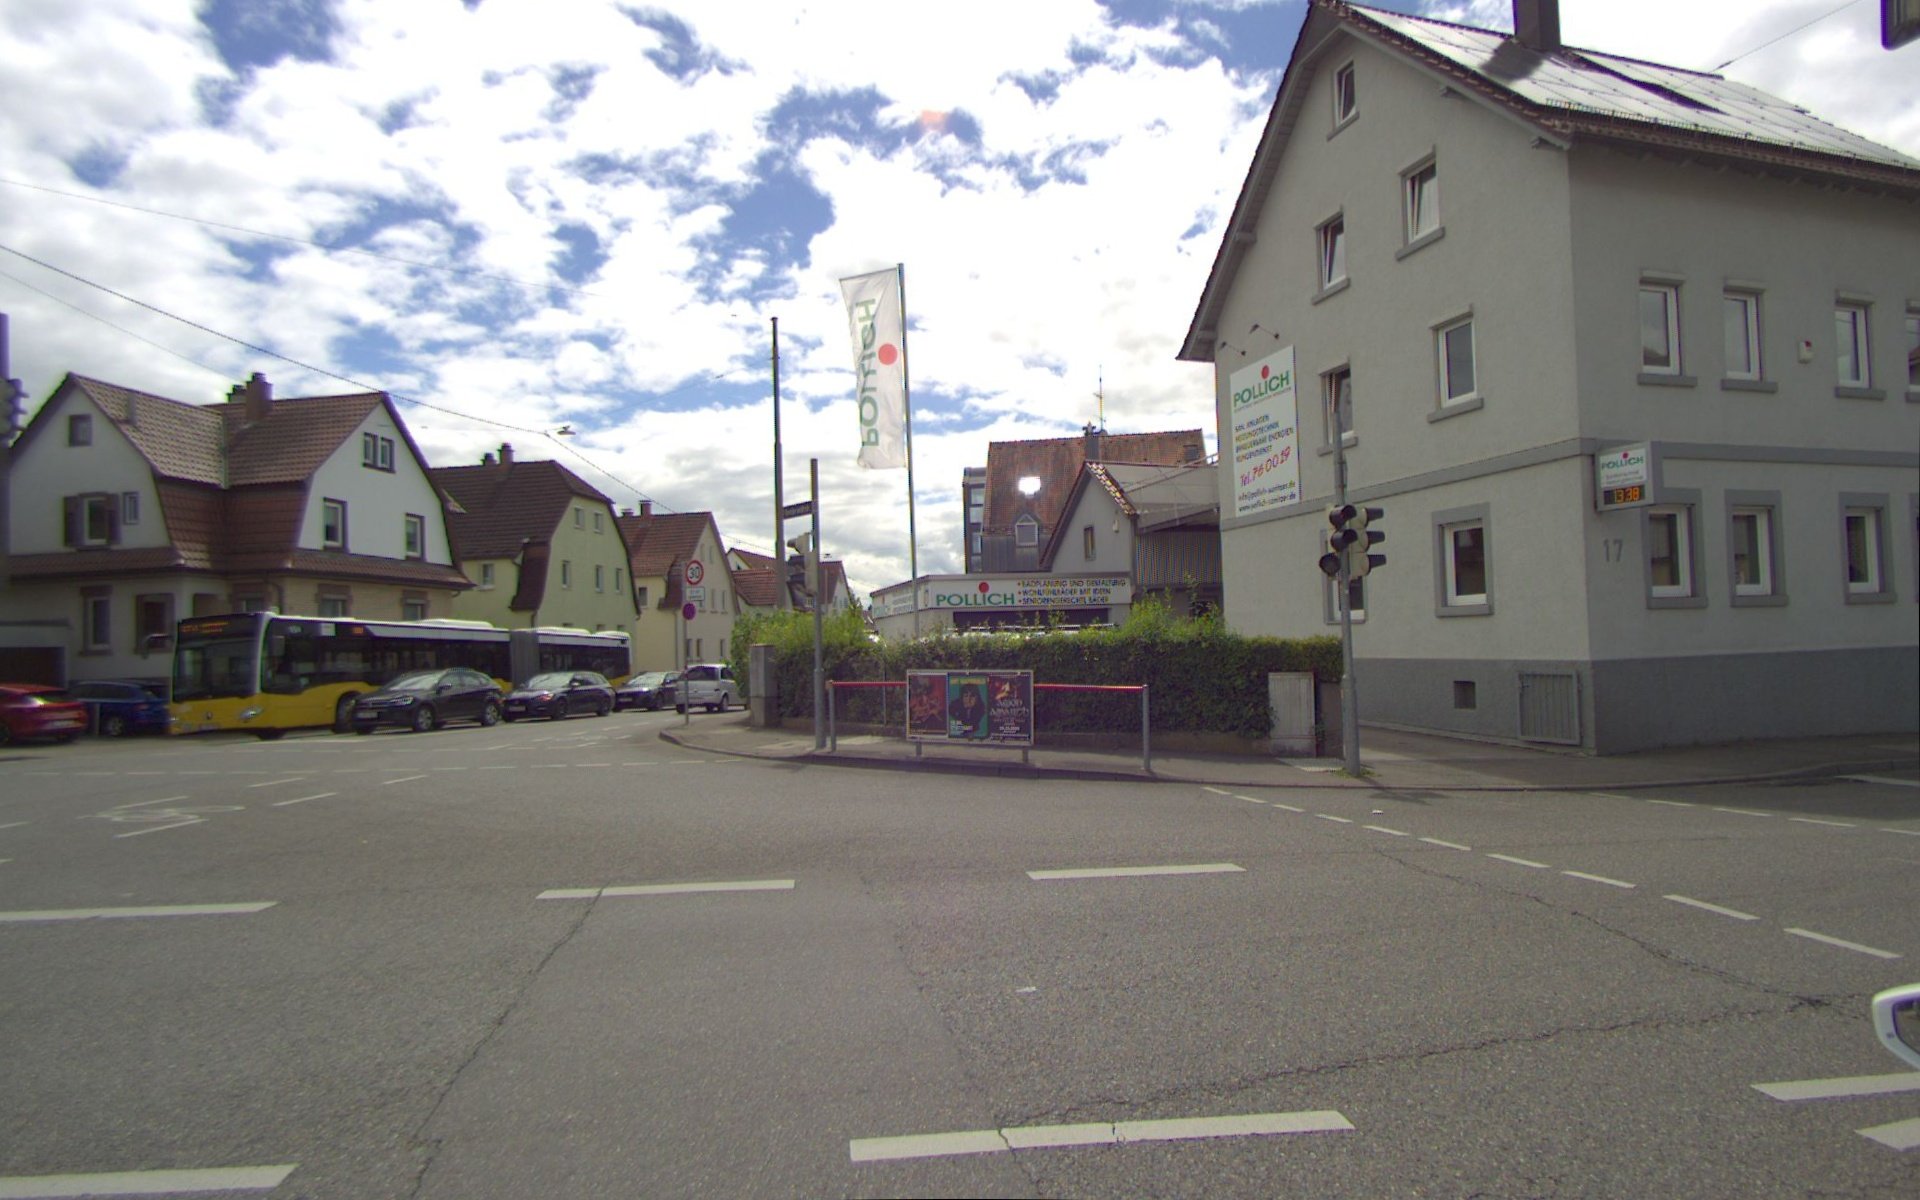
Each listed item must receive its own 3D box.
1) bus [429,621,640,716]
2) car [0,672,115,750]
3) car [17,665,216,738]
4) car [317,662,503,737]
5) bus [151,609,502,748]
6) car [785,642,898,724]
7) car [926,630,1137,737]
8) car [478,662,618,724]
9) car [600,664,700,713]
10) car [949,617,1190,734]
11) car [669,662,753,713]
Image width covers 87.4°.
[{"bbox_3d":[-14.946,2.429,36.383,2.730,2.952,9.200,-1,-3,8],"label":"bus"},{"bbox_3d":[-24.027,2.727,25.229,3.919,1.661,2.002,3,-3,6],"label":"car"},{"bbox_3d":[-23.635,2.815,28.250,3.919,1.705,2.002,3,-3,6],"label":"car"},{"bbox_3d":[-13.415,2.390,24.816,1.959,1.661,4.004,-1,-3,9],"label":"car"},{"bbox_3d":[-16.358,2.019,27.170,2.730,3.100,9.200,-1,-3,8],"label":"bus"},{"bbox_3d":[-3.410,2.235,27.866,1.970,2.040,5.102,0,-3,-20],"label":"car"},{"bbox_3d":[1.451,1.680,20.934,3.934,2.040,1.994,0,-3,-16],"label":"car"},{"bbox_3d":[-12.230,2.732,30.117,1.959,1.661,4.187,-1,-3,9],"label":"car"},{"bbox_3d":[-11.346,3.225,37.076,1.959,1.661,4.004,-1,-3,9],"label":"car"},{"bbox_3d":[1.968,1.343,18.535,3.935,1.973,1.994,0,-4,-17],"label":"car"},{"bbox_3d":[-8.508,2.958,34.640,1.740,1.596,4.004,-1,-3,3],"label":"car"}]
